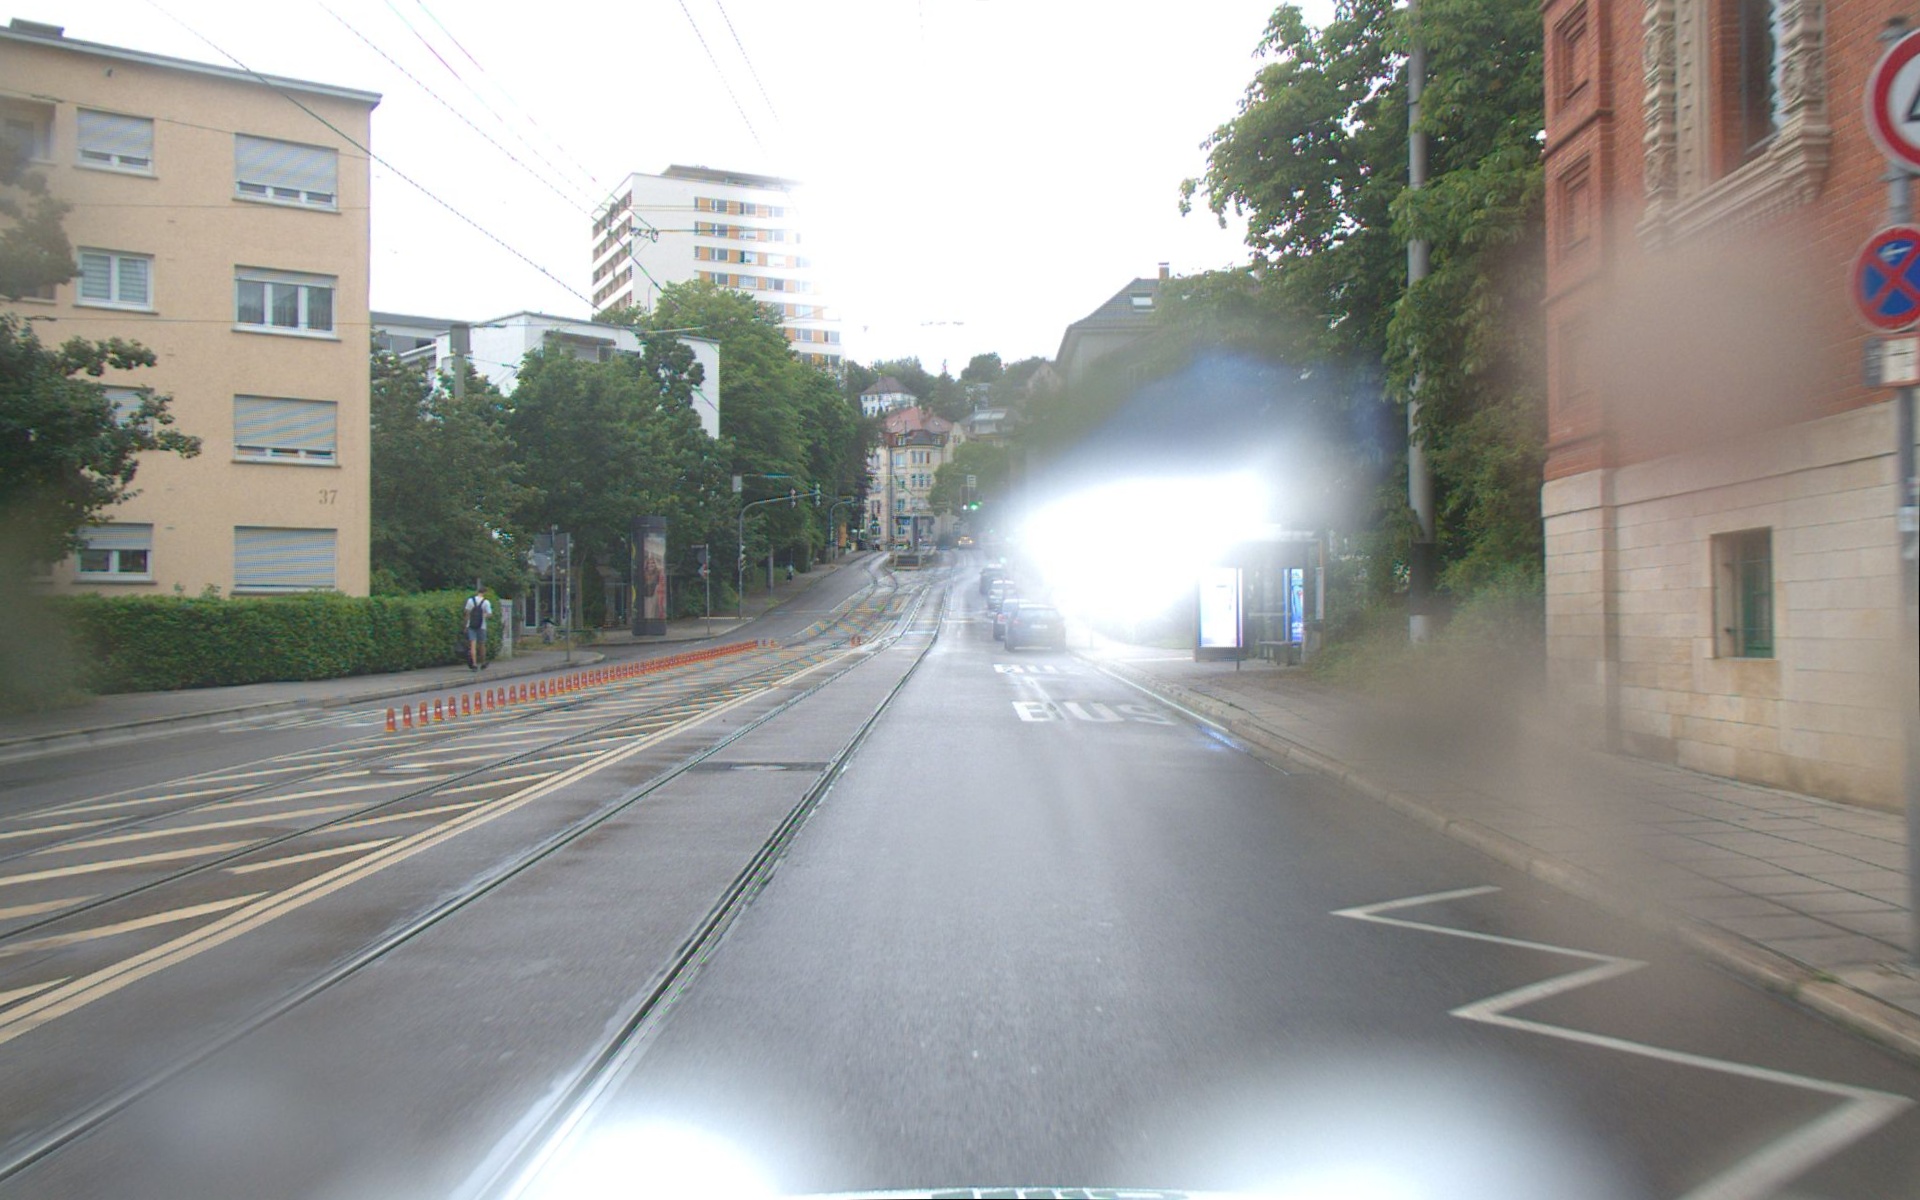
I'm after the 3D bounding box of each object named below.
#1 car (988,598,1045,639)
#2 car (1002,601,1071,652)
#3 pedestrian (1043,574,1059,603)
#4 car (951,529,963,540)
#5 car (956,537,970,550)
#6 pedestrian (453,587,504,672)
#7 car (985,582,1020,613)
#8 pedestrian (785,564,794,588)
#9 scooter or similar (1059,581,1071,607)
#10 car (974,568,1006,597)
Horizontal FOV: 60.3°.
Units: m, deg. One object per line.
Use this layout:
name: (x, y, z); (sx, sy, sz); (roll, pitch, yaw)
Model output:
car: (2.107, 0.689, 62.936); (1.901, 1.489, 4.205); (0, 0, -2)
car: (2.339, 0.795, 51.457); (1.820, 1.513, 4.644); (0, 0, -1)
pedestrian: (5.360, -0.693, 97.192); (0.864, 1.610, 0.802); (-2, 4, 2)
car: (-0.472, -10.176, 258.686); (1.867, 1.670, 4.690); (1, 2, -1)
car: (0.374, -7.610, 222.469); (1.867, 1.670, 4.690); (1, 2, -1)
pedestrian: (-10.926, 0.664, 37.560); (0.901, 1.878, 1.016); (1, -1, -5)
car: (2.231, -0.140, 87.824); (1.670, 1.458, 4.102); (1, 2, -1)
pedestrian: (-12.013, -1.677, 116.554); (0.571, 1.628, 0.869); (2, 1, -4)
scooter or similar: (5.613, -0.311, 88.485); (0.562, 1.270, 1.612); (0, 4, 5)
car: (1.880, -1.135, 104.053); (1.867, 1.670, 4.690); (1, 2, -1)
